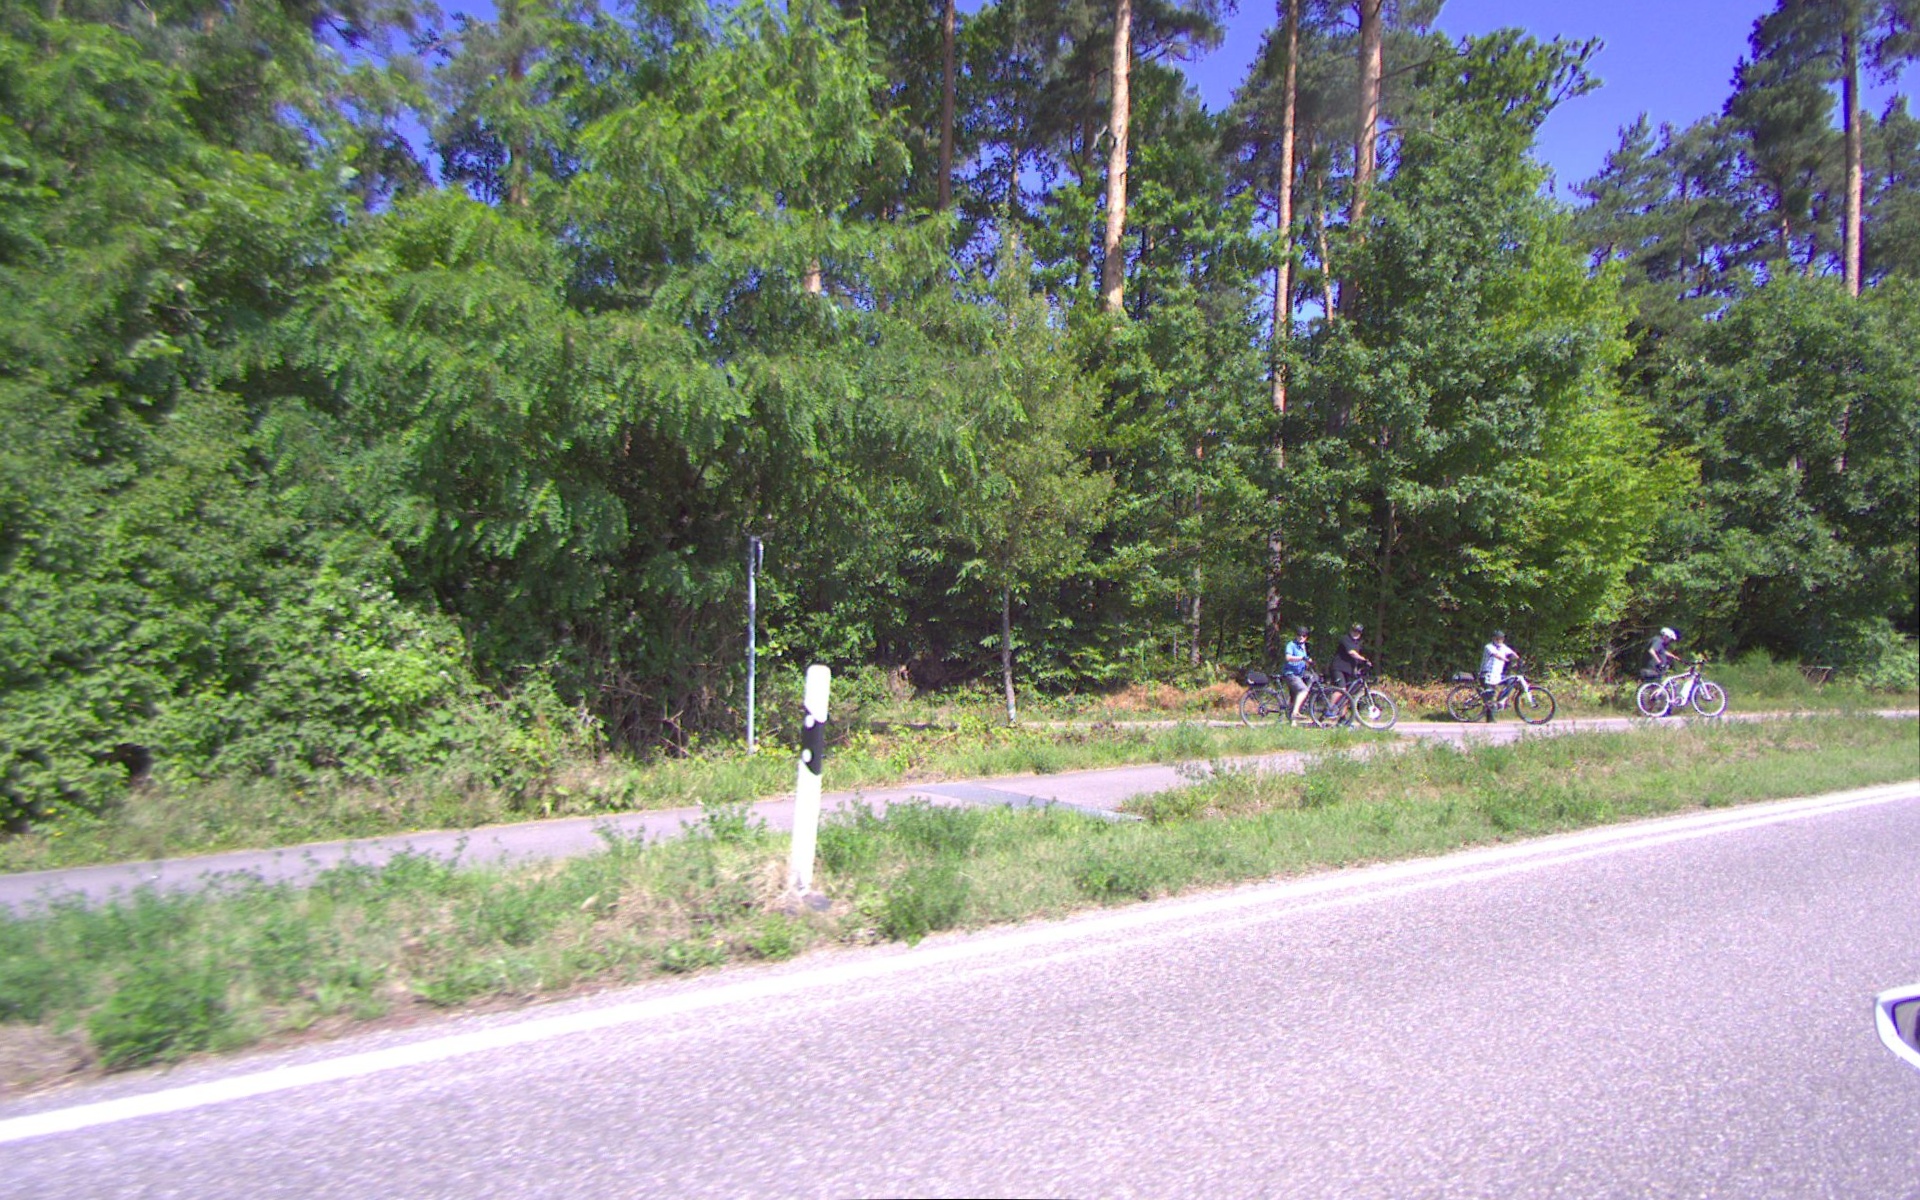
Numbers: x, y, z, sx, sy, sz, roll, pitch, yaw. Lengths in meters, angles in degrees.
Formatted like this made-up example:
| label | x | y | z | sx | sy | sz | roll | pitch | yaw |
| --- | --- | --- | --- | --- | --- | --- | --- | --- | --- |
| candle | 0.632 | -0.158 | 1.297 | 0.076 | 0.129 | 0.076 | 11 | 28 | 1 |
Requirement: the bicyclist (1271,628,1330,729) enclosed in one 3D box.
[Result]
| label | x | y | z | sx | sy | sz | roll | pitch | yaw |
| --- | --- | --- | --- | --- | --- | --- | --- | --- | --- |
| bicyclist | 5.575 | 1.269 | 16.481 | 0.854 | 1.566 | 0.606 | 2 | 0 | 17 |

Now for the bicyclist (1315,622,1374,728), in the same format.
| label | x | y | z | sx | sy | sz | roll | pitch | yaw |
| --- | --- | --- | --- | --- | --- | --- | --- | --- | --- |
| bicyclist | 6.544 | 1.259 | 17.134 | 0.833 | 1.723 | 0.606 | 2 | 0 | 17 |

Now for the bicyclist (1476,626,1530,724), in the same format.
| label | x | y | z | sx | sy | sz | roll | pitch | yaw |
| --- | --- | --- | --- | --- | --- | --- | --- | --- | --- |
| bicyclist | 10.037 | 1.359 | 18.598 | 0.774 | 1.741 | 0.606 | 2 | 0 | 24 |

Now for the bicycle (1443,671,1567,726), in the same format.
| label | x | y | z | sx | sy | sz | roll | pitch | yaw |
| --- | --- | --- | --- | --- | --- | --- | --- | --- | --- |
| bicycle | 10.045 | 1.810 | 18.576 | 1.947 | 0.840 | 0.606 | 2 | 0 | 24 |

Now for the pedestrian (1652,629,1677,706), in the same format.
| label | x | y | z | sx | sy | sz | roll | pitch | yaw |
| --- | --- | --- | --- | --- | --- | --- | --- | --- | --- |
| pedestrian | 14.407 | 1.374 | 20.530 | 0.386 | 1.558 | 0.282 | 1 | -2 | -32 |

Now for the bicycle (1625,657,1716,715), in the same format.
| label | x | y | z | sx | sy | sz | roll | pitch | yaw |
| --- | --- | --- | --- | --- | --- | --- | --- | --- | --- |
| bicycle | 14.374 | 1.734 | 20.331 | 1.418 | 1.101 | 0.582 | 0 | 1 | 1 |

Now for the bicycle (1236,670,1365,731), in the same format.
| label | x | y | z | sx | sy | sz | roll | pitch | yaw |
| --- | --- | --- | --- | --- | --- | --- | --- | --- | --- |
| bicycle | 5.557 | 1.631 | 16.475 | 1.945 | 0.840 | 0.606 | 2 | 0 | 17 |

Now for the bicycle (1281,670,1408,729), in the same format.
| label | x | y | z | sx | sy | sz | roll | pitch | yaw |
| --- | --- | --- | --- | --- | --- | --- | --- | --- | --- |
| bicycle | 6.486 | 1.671 | 17.051 | 1.945 | 0.840 | 0.606 | 2 | 0 | 17 |
